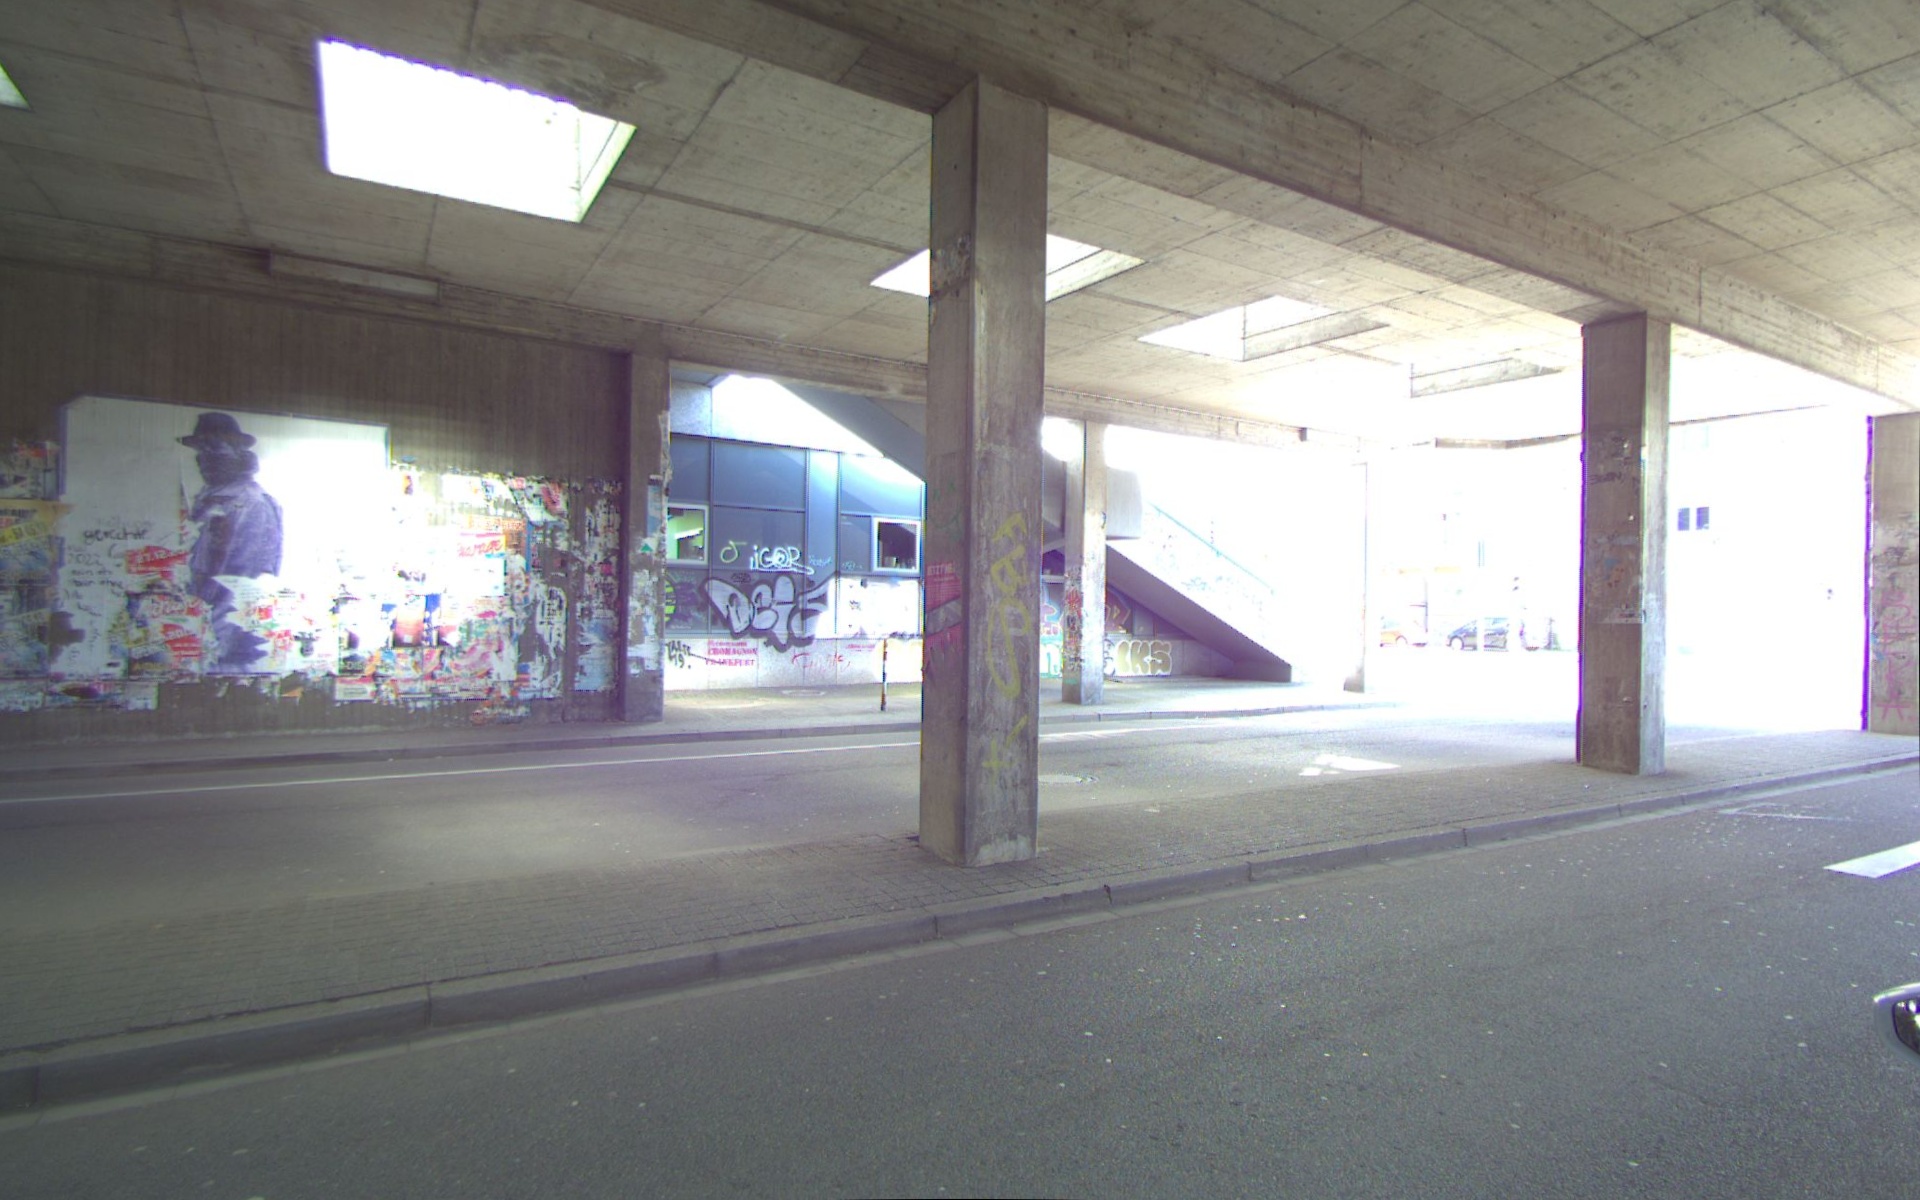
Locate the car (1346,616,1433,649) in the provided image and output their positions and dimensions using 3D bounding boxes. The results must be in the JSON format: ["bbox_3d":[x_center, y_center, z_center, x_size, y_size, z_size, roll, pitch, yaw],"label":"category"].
[{"bbox_3d":[22.463,1.670,52.671,1.876,1.561,3.861,0,0,-29],"label":"car"}]

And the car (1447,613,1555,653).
[{"bbox_3d":[25.501,1.530,47.478,1.939,1.747,4.141,0,0,-29],"label":"car"}]
